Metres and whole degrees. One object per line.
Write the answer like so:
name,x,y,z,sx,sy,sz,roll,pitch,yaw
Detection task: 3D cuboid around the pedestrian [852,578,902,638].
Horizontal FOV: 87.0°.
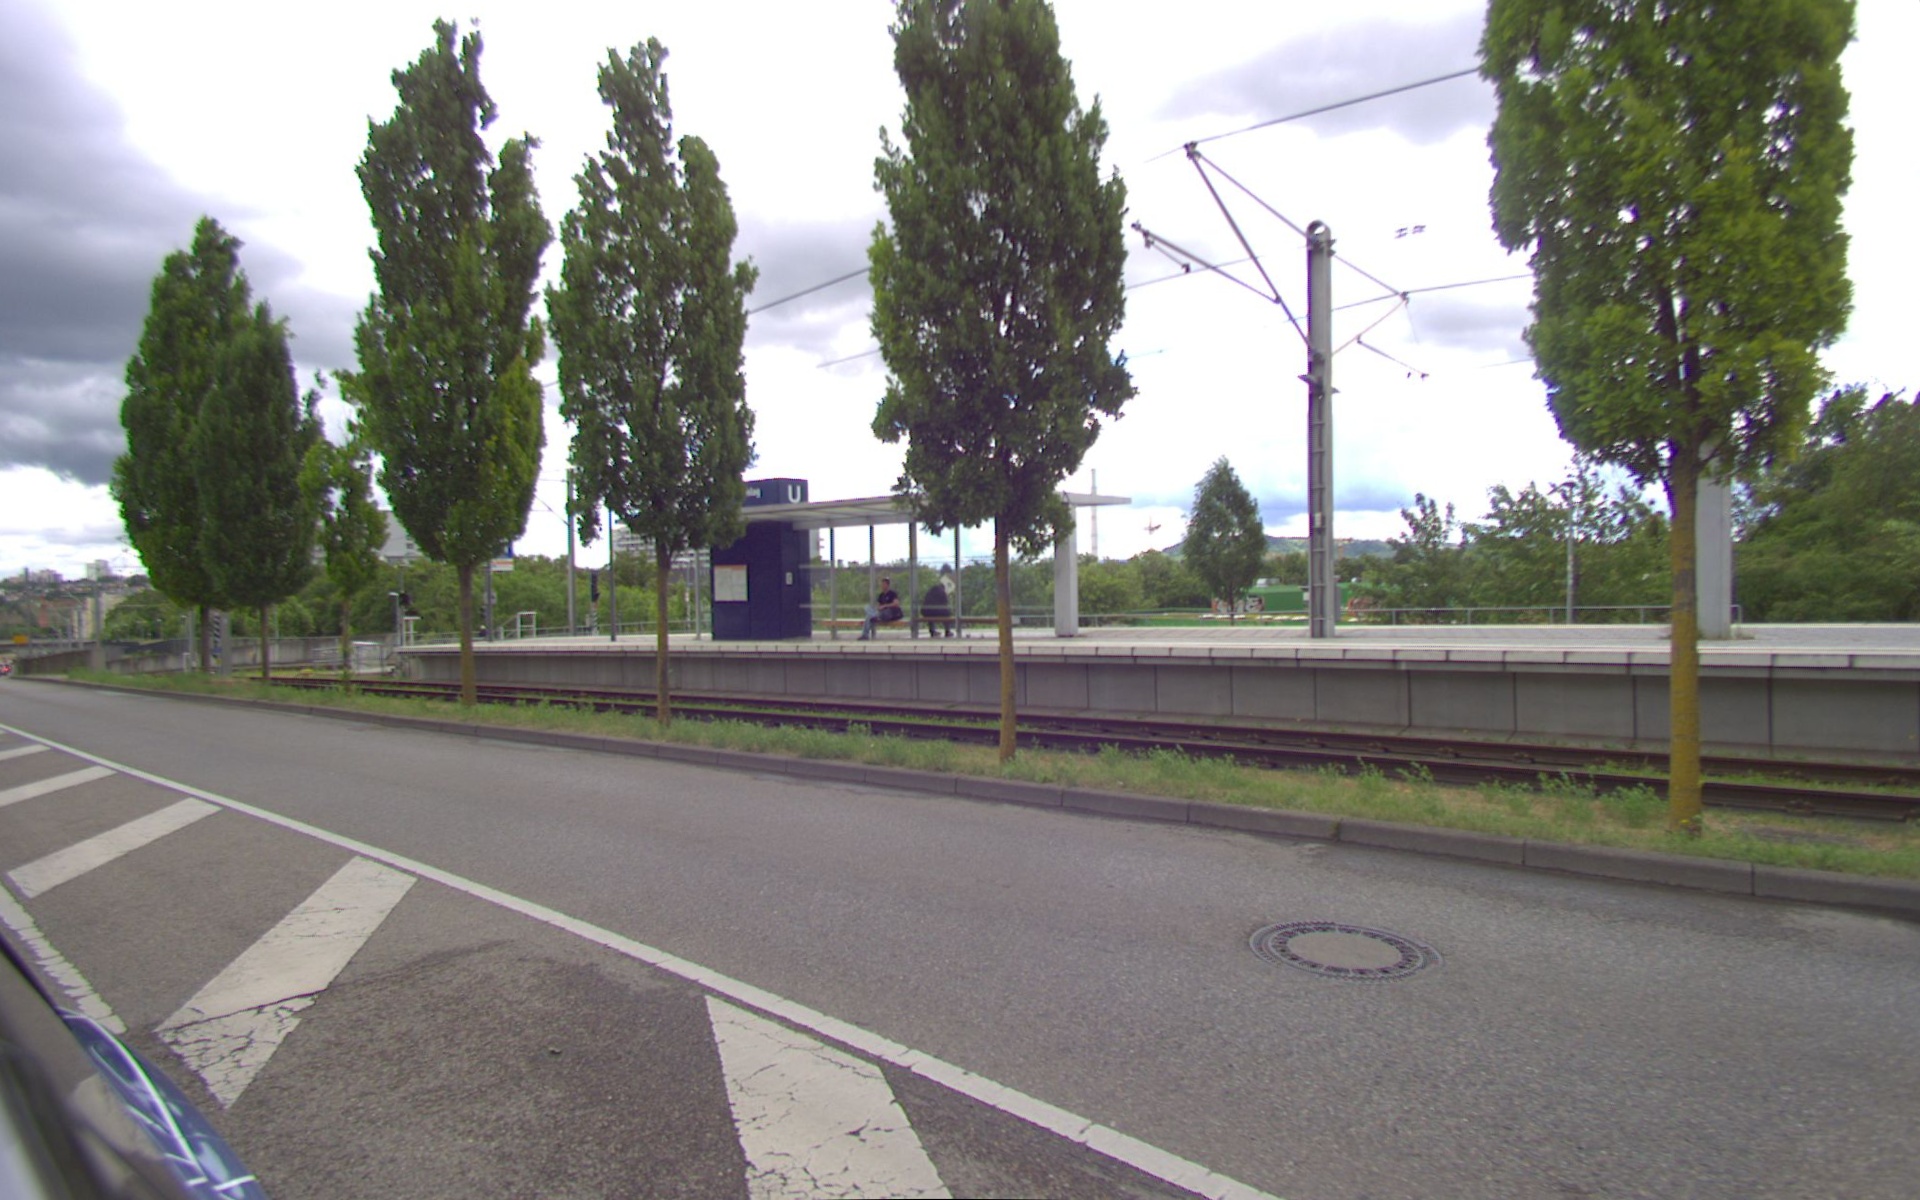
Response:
pedestrian,-1.702,0.174,20.824,0.665,1.208,0.754,-2,-1,39

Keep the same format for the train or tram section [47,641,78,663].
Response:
train or tram section,-140.455,8.195,158.224,2.749,3.218,18.485,0,-2,-44

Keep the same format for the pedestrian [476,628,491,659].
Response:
pedestrian,-25.615,2.358,54.434,0.646,1.637,0.501,-4,-2,45

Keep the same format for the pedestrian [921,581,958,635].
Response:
pedestrian,-0.420,0.167,20.841,0.470,1.087,0.601,-3,-2,39
